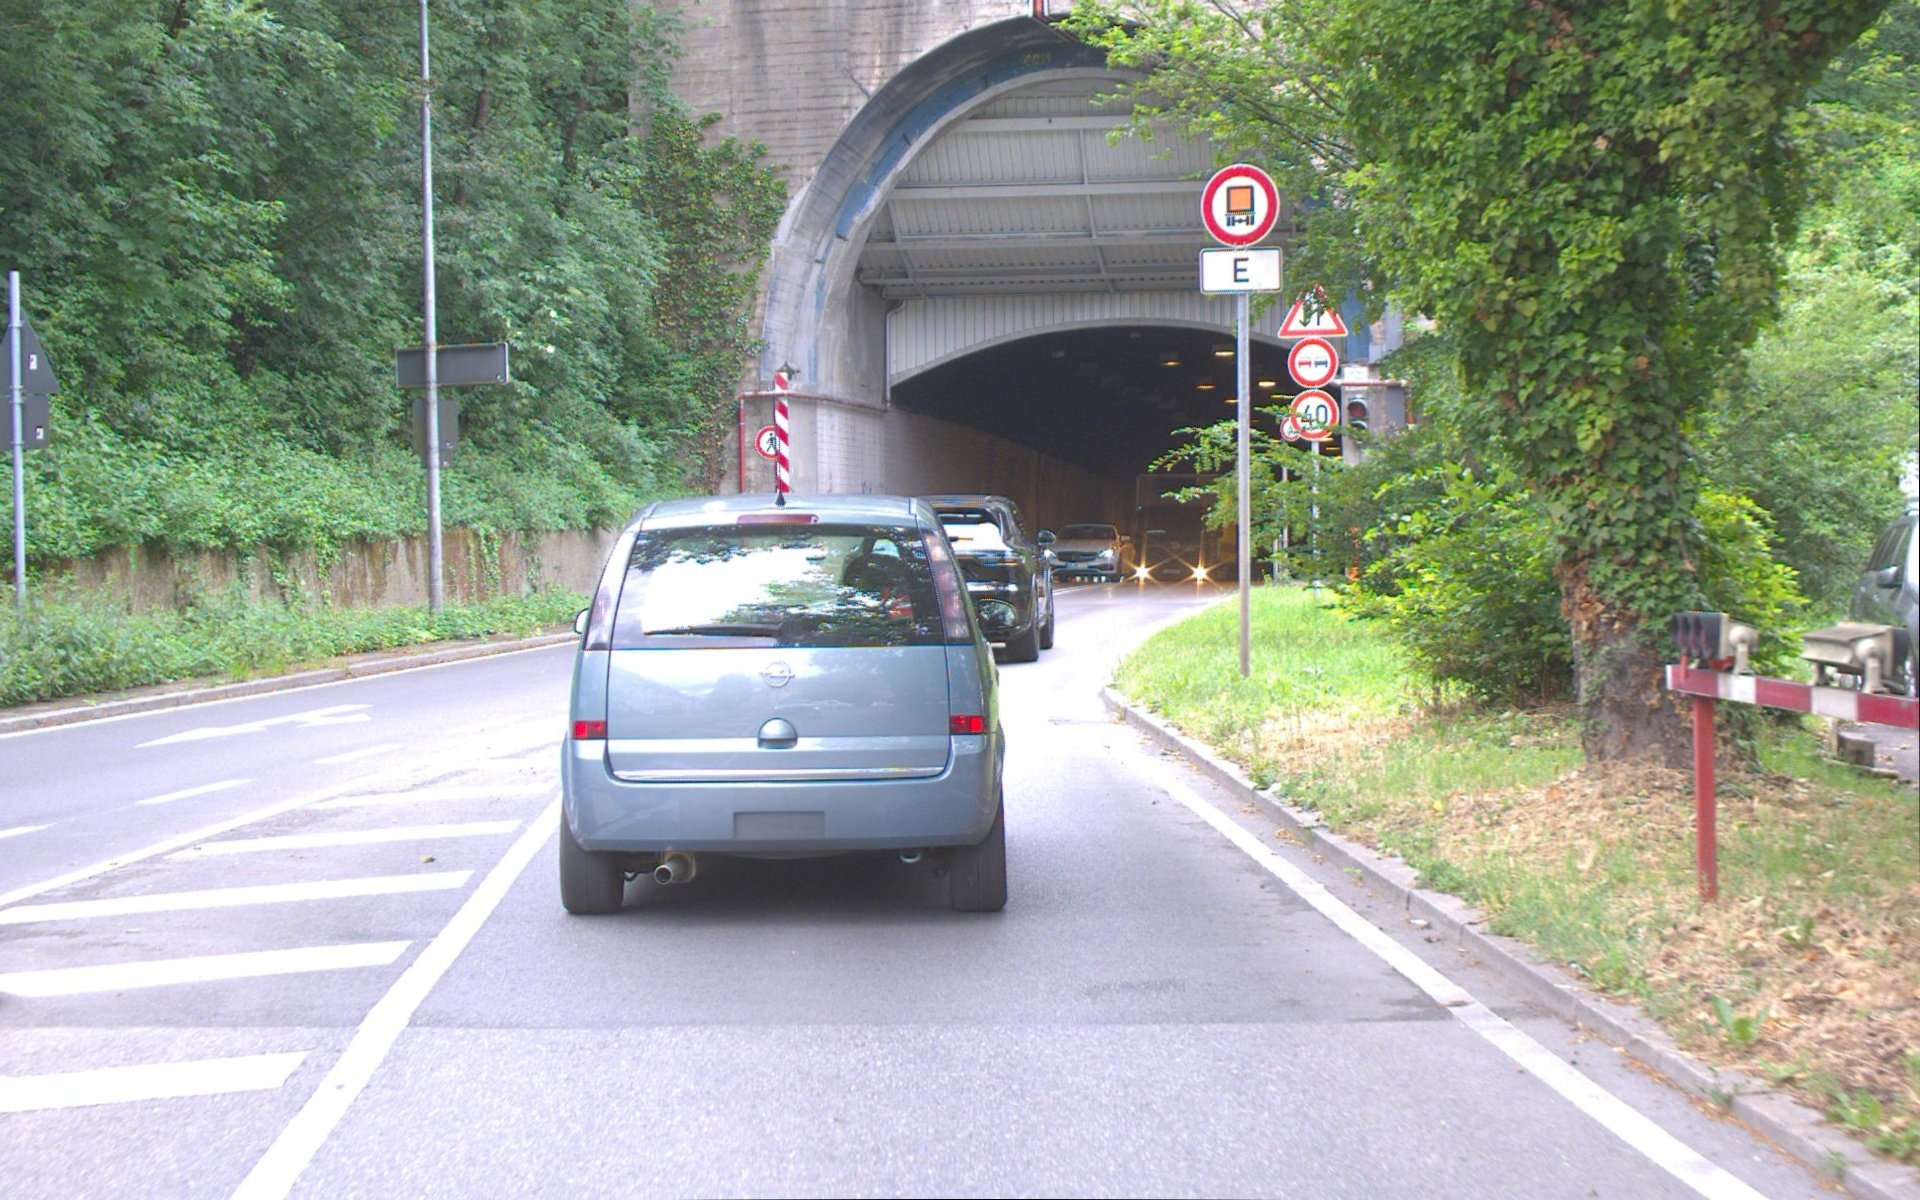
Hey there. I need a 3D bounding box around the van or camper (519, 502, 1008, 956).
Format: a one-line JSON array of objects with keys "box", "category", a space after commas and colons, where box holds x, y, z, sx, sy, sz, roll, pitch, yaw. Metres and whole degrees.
[{"box": [-0.761, 0.406, 14.050, 1.735, 1.572, 3.647, 0, 2, -2], "category": "van or camper"}]

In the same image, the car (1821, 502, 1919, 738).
[{"box": [7.315, 0.047, 24.283, 1.785, 1.437, 5.062, -2, 2, 7], "category": "car"}]

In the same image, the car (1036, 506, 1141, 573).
[{"box": [3.072, -1.455, 81.571, 1.869, 1.366, 4.455, -2, 2, 10], "category": "car"}]

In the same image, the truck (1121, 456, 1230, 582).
[{"box": [6.598, -2.466, 104.212, 2.676, 3.654, 7.515, 0, 1, 8], "category": "truck"}]

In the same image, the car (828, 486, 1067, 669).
[{"box": [-0.062, -0.279, 35.258, 1.994, 1.647, 4.000, -2, 3, 6], "category": "car"}]
